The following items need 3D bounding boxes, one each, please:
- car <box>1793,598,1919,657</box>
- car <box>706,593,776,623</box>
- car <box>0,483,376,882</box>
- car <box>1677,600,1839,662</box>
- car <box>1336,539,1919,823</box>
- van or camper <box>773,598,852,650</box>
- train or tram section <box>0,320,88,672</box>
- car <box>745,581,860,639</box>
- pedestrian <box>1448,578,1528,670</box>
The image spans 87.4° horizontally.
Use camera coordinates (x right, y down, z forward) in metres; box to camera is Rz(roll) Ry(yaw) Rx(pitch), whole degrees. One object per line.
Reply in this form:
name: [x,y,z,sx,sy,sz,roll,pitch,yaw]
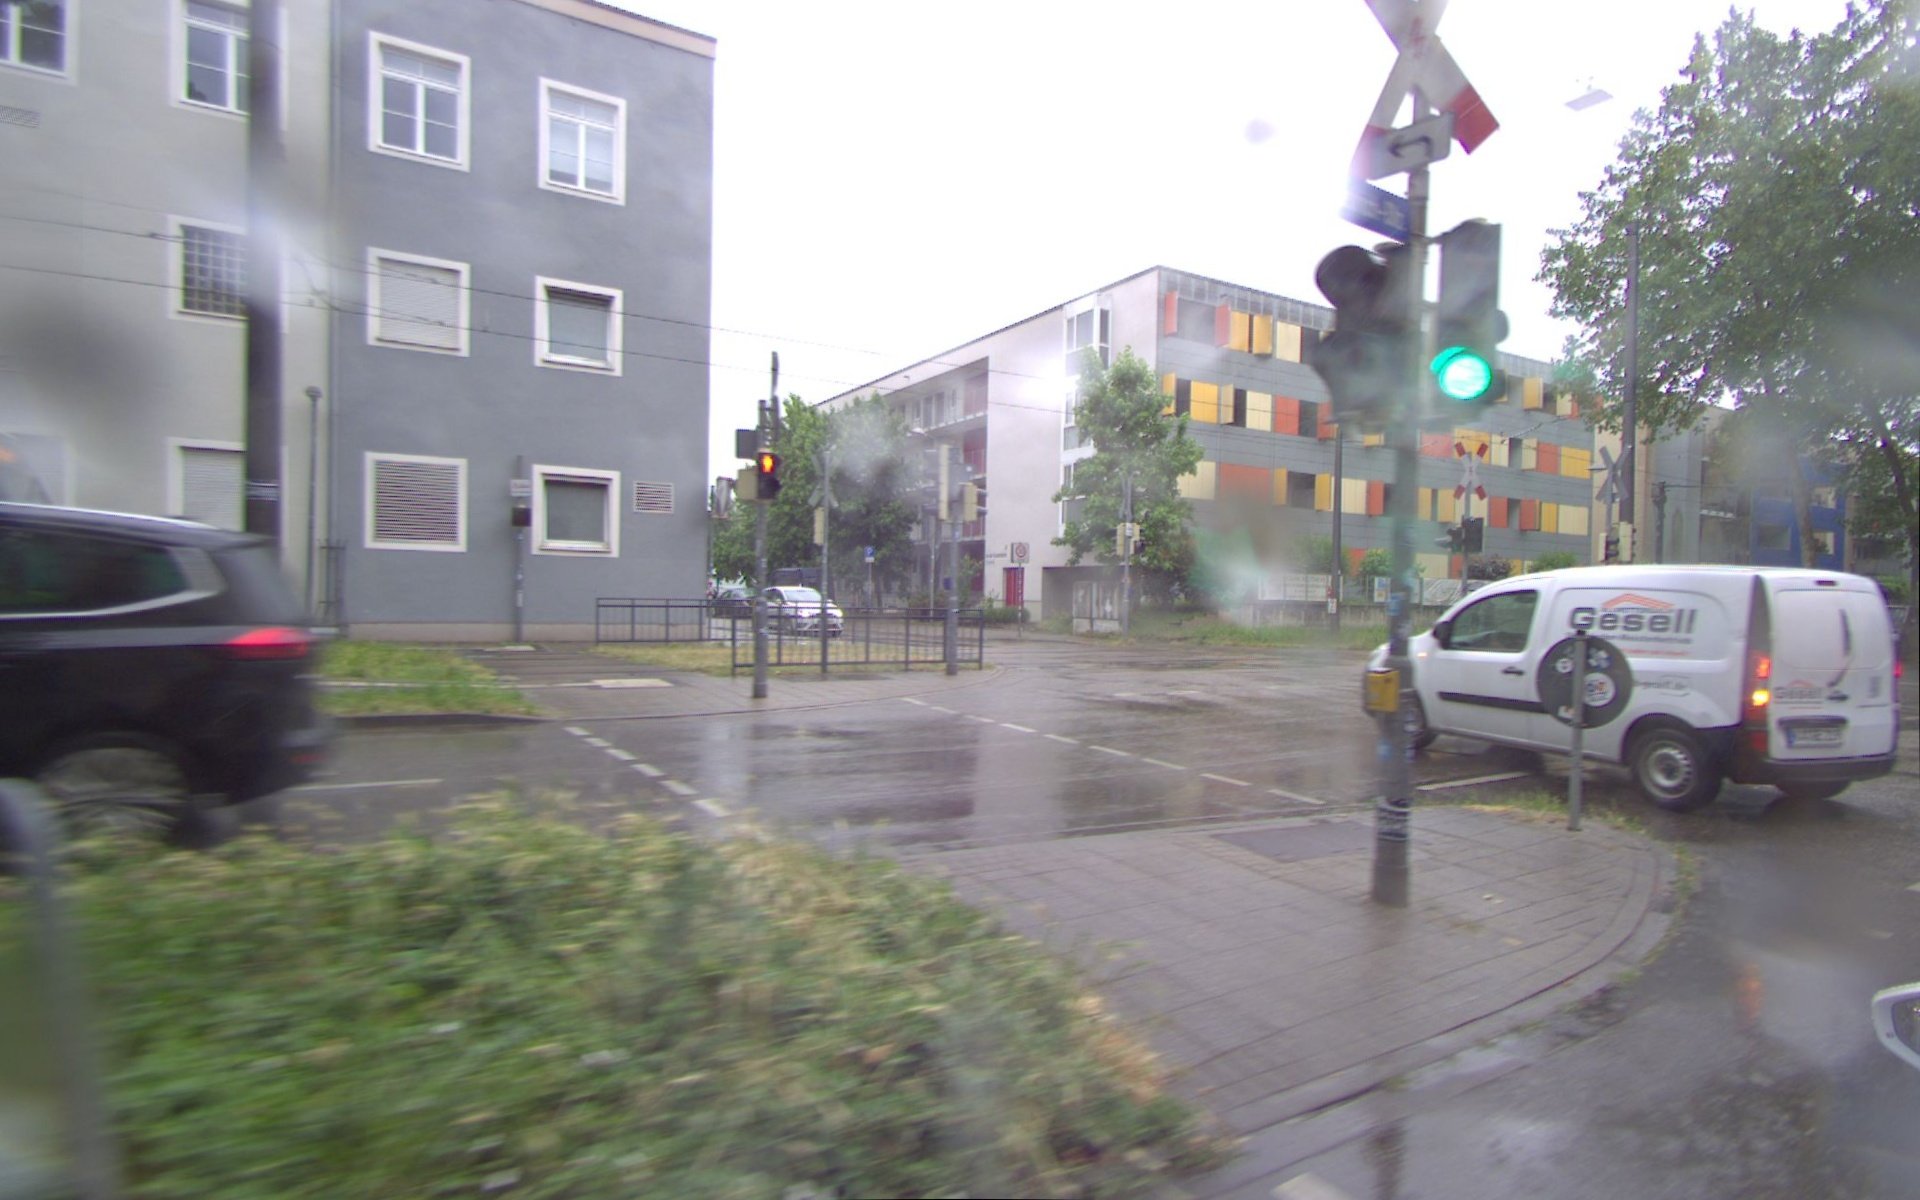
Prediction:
car: [27.136,0.805,30.163,4.415,1.622,1.894,1,1,-31]
car: [-10.546,0.381,48.223,1.979,1.328,3.963,1,0,-33]
car: [-5.312,0.305,4.395,4.627,1.640,2.042,1,1,-35]
car: [21.354,0.794,26.845,4.335,1.483,1.895,1,1,-30]
car: [5.492,0.508,8.835,1.909,1.874,4.048,1,1,-20]
van or camper: [-6.578,1.032,44.545,1.979,2.041,3.963,1,1,-33]
train or tram section: [-15.602,-1.258,8.937,11.418,3.691,2.885,2,1,-31]
car: [-4.723,0.257,29.656,1.868,1.548,4.053,1,1,-33]
pedestrian: [10.830,0.483,20.597,1.192,1.824,0.931,2,0,-31]
